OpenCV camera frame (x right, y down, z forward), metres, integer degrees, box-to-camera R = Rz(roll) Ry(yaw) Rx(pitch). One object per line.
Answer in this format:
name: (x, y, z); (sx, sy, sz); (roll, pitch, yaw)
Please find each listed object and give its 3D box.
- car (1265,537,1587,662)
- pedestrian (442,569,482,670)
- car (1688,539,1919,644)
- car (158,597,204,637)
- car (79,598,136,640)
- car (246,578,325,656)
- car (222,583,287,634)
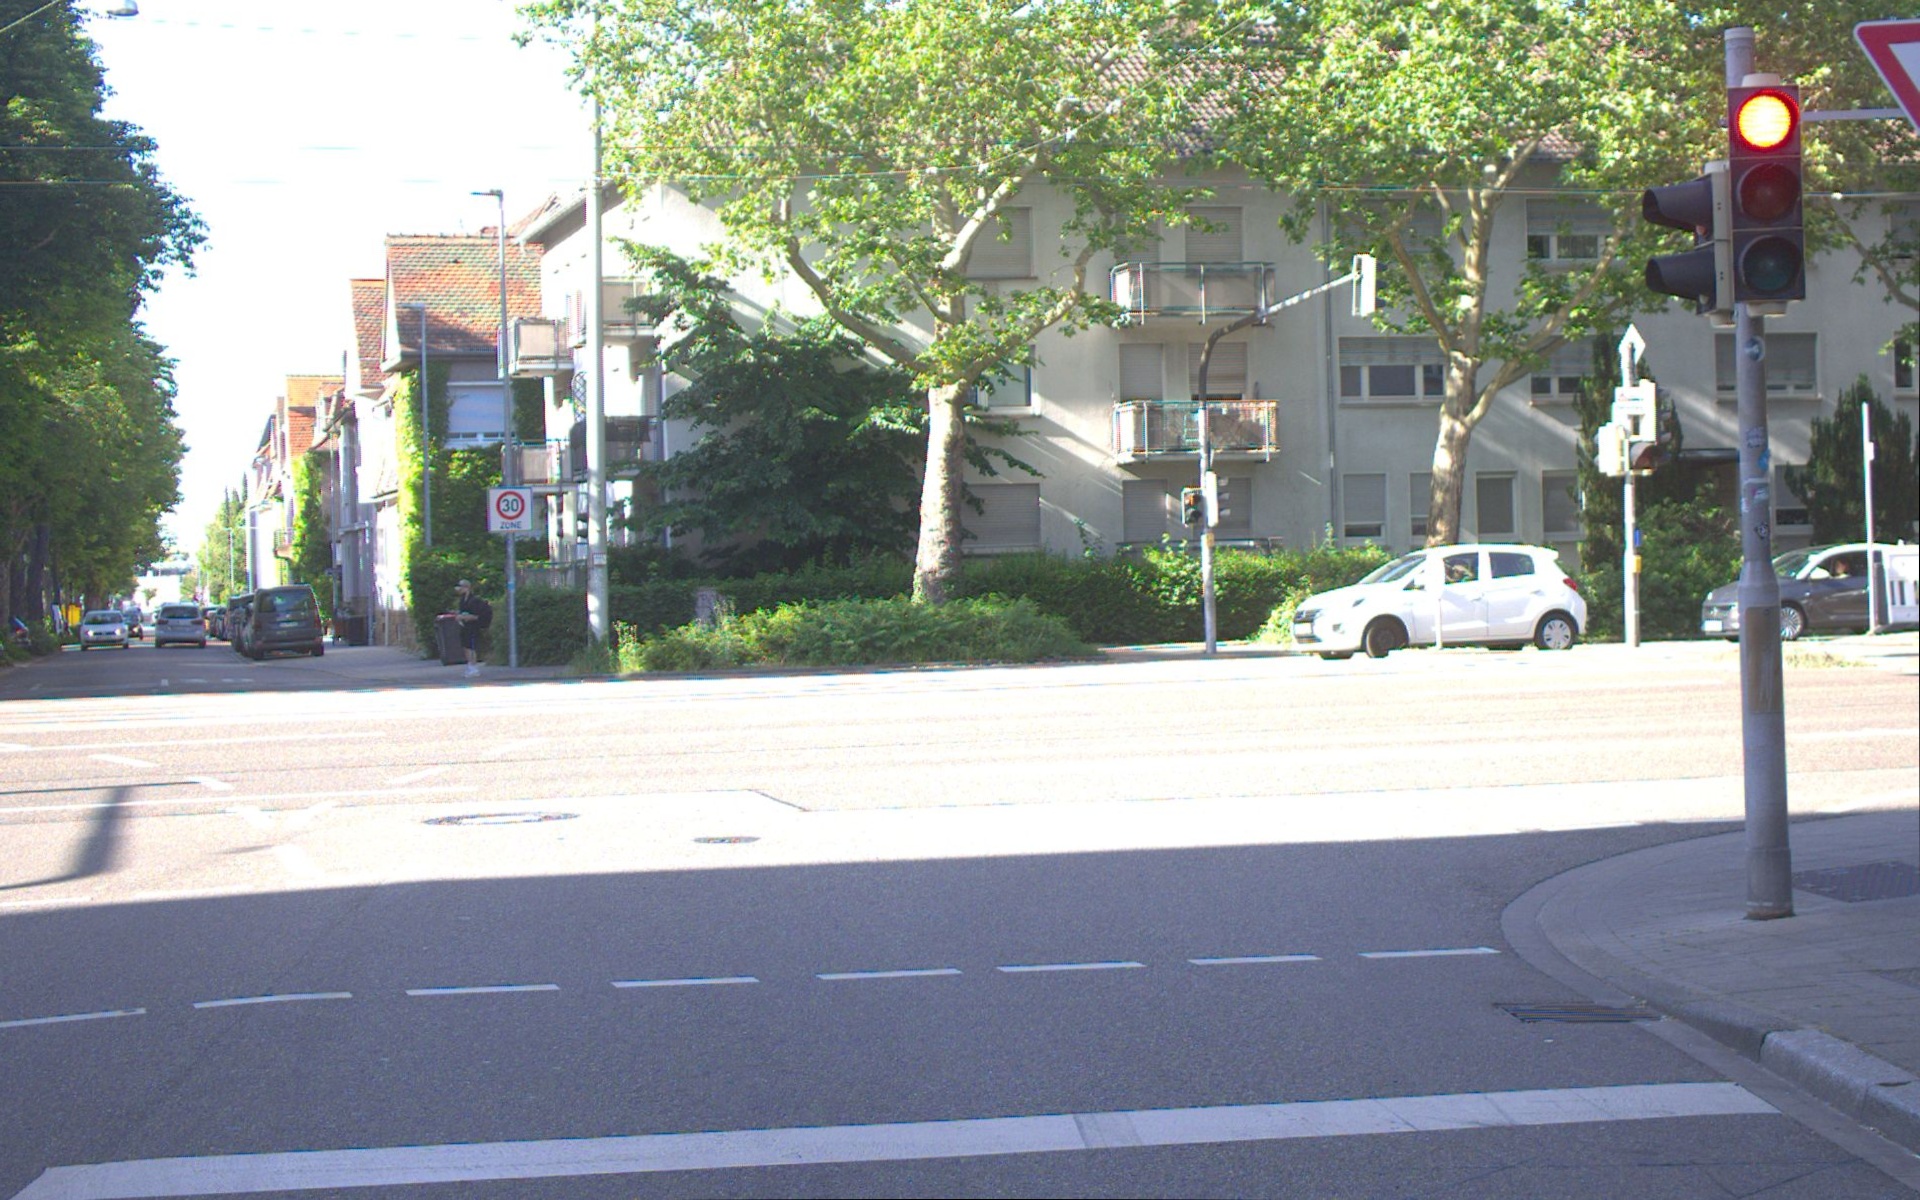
car: (6.069, -0.020, 44.830); (3.786, 1.467, 1.630); (-2, 1, -16)
pedestrian: (-8.706, 0.338, 60.139); (0.633, 1.744, 0.659); (-1, 0, -4)
car: (13.149, -0.141, 53.188); (3.379, 1.482, 1.525); (-2, 1, -22)
car: (-29.821, 0.646, 131.664); (1.673, 1.477, 3.523); (-1, 0, -13)
car: (-32.342, 0.706, 130.397); (1.993, 1.441, 4.001); (-2, 1, -15)
car: (-18.524, 0.439, 94.548); (1.993, 2.007, 4.001); (-2, 1, -10)
car: (-25.726, 0.302, 125.323); (1.993, 1.826, 4.001); (-1, 0, -16)
